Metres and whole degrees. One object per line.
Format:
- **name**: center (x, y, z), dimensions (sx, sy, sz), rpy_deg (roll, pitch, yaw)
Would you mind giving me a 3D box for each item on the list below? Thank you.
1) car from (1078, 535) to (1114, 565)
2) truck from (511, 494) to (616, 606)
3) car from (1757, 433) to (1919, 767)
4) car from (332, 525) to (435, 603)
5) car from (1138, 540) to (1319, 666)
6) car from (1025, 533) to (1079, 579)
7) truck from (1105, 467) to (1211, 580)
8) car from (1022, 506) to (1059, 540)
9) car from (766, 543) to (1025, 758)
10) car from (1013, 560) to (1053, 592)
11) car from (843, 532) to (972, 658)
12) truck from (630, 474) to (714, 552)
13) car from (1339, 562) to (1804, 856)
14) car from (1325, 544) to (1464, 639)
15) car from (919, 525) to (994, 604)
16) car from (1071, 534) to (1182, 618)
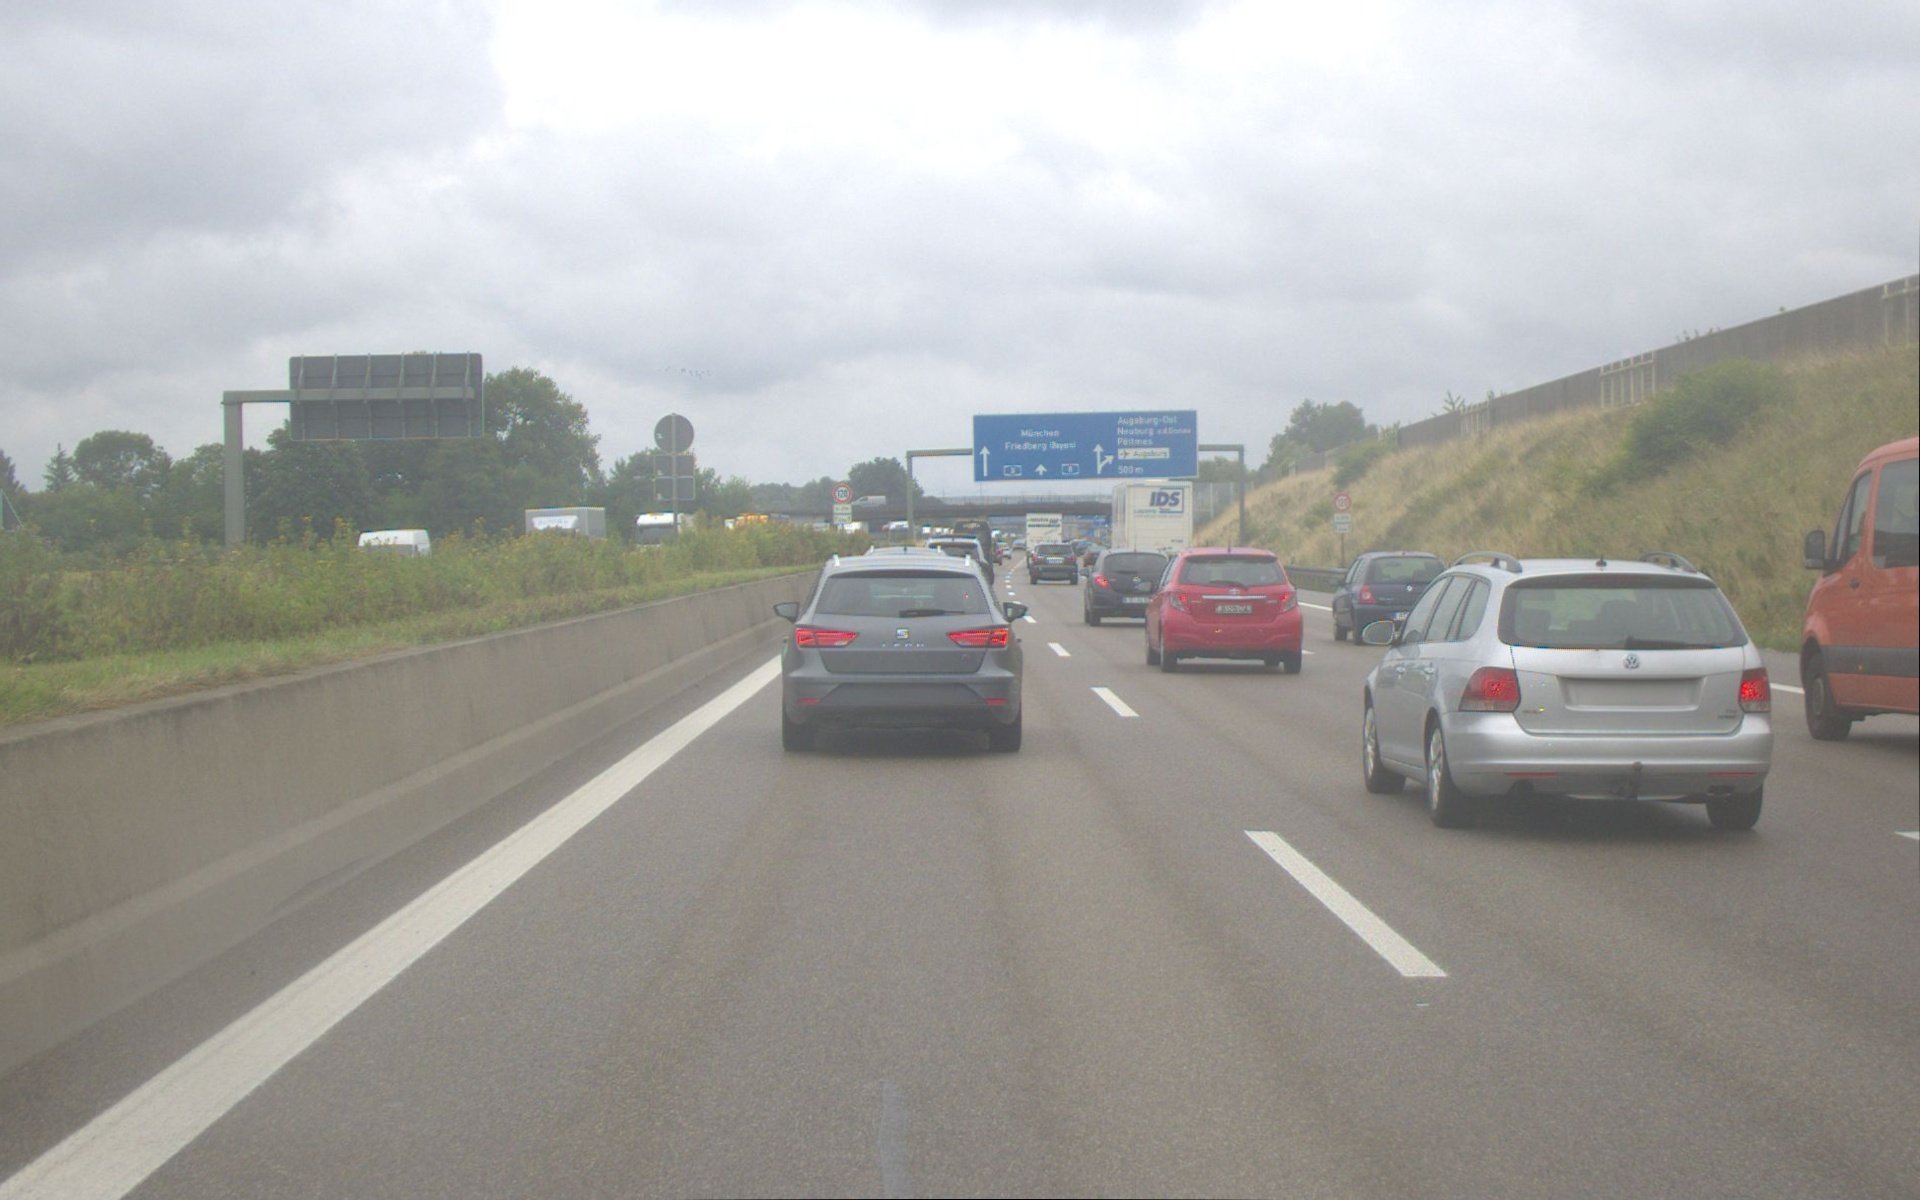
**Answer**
- **car**: center (8.741, -3.229, 221.558), dimensions (1.993, 1.853, 4.391), rpy_deg (0, 1, -1)
- **truck**: center (-17.068, -2.132, 148.596), dimensions (3.225, 4.633, 9.674), rpy_deg (1, 1, 1)
- **car**: center (7.626, -0.031, 24.930), dimensions (2.085, 2.307, 6.182), rpy_deg (0, 1, -2)
- **car**: center (-19.324, -1.209, 115.554), dimensions (2.245, 2.521, 6.906), rpy_deg (1, 1, 0)
- **car**: center (3.250, -0.003, 42.387), dimensions (1.891, 1.442, 4.685), rpy_deg (0, 1, 0)
- **car**: center (3.406, -1.632, 128.281), dimensions (1.845, 1.681, 4.000), rpy_deg (1, 1, -1)
- **truck**: center (7.988, -3.047, 141.263), dimensions (3.283, 4.280, 19.033), rpy_deg (1, 1, 0)
- **car**: center (4.921, -4.689, 210.161), dimensions (1.993, 2.007, 4.000), rpy_deg (-1, 1, -2)
- **car**: center (-0.447, 0.325, 25.739), dimensions (1.768, 1.462, 4.000), rpy_deg (1, 1, 0)
- **car**: center (3.512, -1.184, 166.692), dimensions (1.751, 1.512, 4.000), rpy_deg (0, 1, -1)
- **car**: center (-0.735, -0.088, 50.279), dimensions (1.754, 1.744, 4.000), rpy_deg (1, 1, 1)
- **truck**: center (-15.382, -4.594, 184.377), dimensions (3.184, 3.953, 10.810), rpy_deg (1, 1, 2)
- **car**: center (3.308, 0.518, 19.442), dimensions (1.742, 1.420, 4.517), rpy_deg (-1, 1, -1)
- **car**: center (6.704, -0.143, 53.382), dimensions (1.702, 1.396, 3.875), rpy_deg (1, 1, 1)
- **car**: center (-0.090, -0.860, 82.106), dimensions (1.704, 1.790, 3.855), rpy_deg (-2, 1, 0)
- **car**: center (3.102, -0.484, 64.854), dimensions (1.921, 1.516, 4.622), rpy_deg (0, 1, 1)
